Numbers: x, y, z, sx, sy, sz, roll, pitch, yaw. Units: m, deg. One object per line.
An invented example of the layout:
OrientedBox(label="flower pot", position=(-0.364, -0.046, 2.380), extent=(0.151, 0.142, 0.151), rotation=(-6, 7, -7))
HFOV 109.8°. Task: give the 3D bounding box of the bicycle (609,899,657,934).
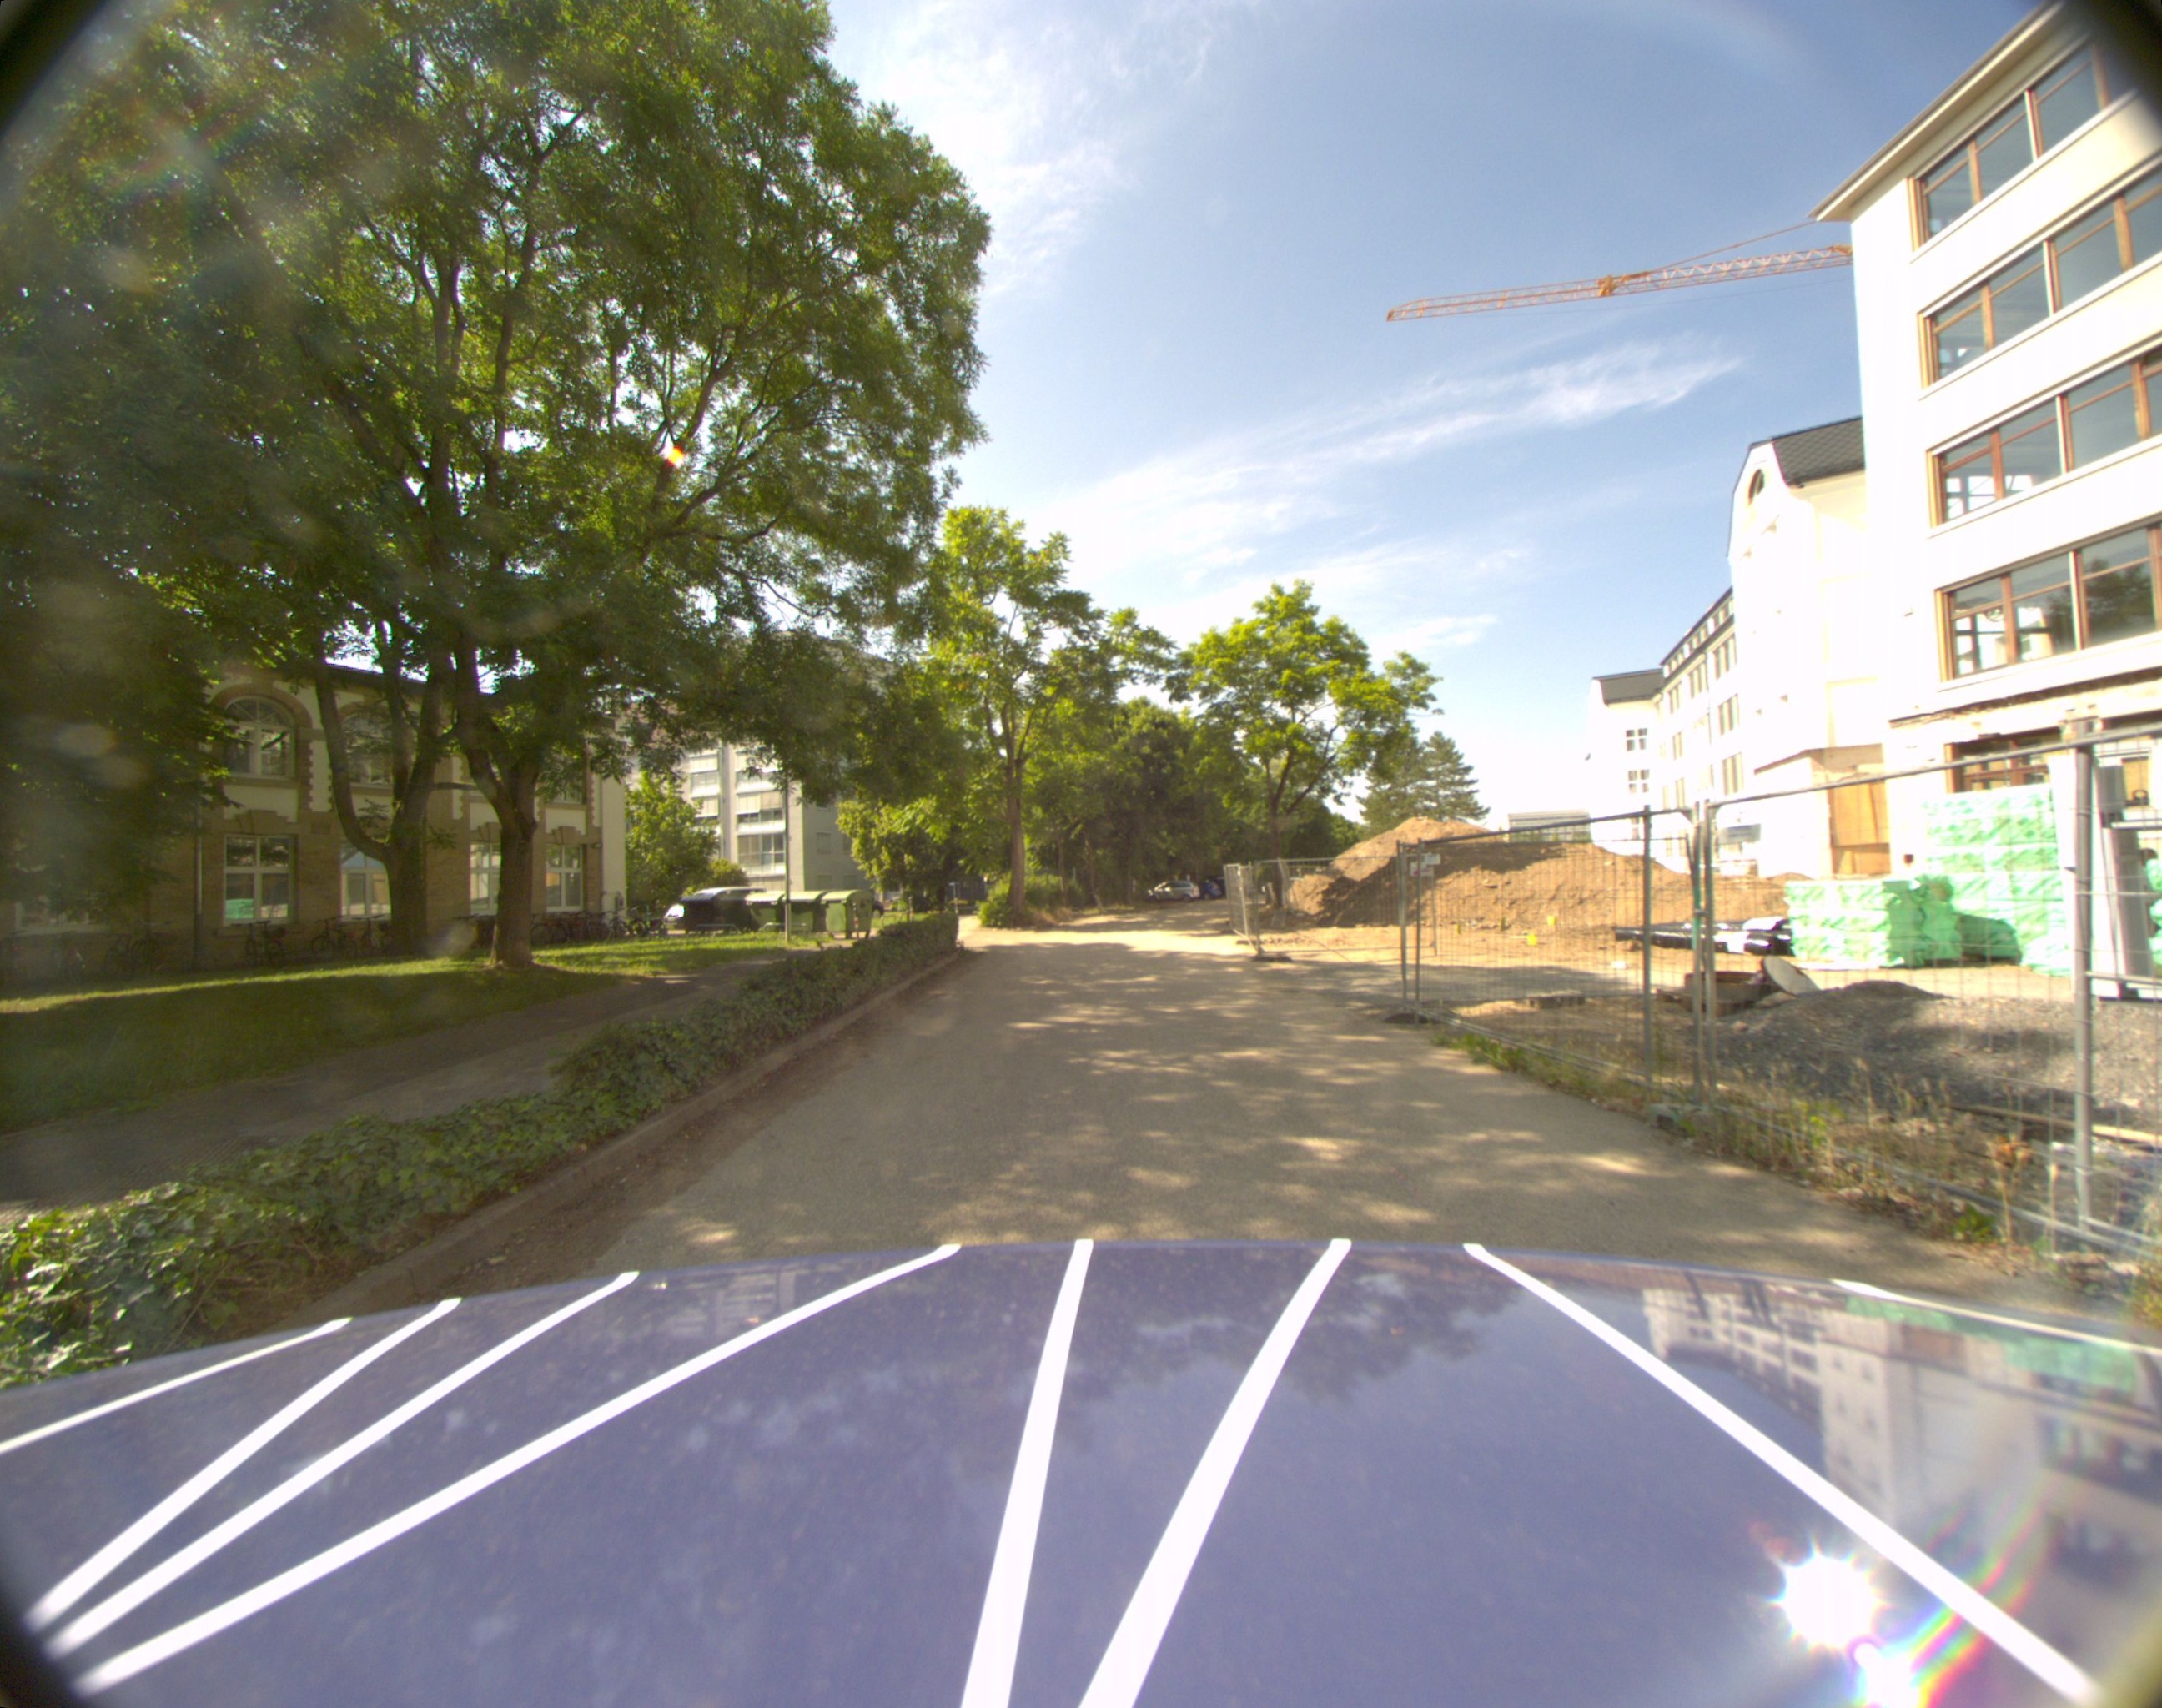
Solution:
OrientedBox(label="bicycle", position=(-15.163, 2.112, 25.709), extent=(1.800, 1.154, 0.508), rotation=(-3, -1, 29))

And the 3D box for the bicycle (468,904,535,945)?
OrientedBox(label="bicycle", position=(-16.939, 2.056, 22.196), extent=(2.097, 1.154, 0.589), rotation=(-3, -1, 24))

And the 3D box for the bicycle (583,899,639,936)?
OrientedBox(label="bicycle", position=(-15.573, 2.104, 25.183), extent=(1.847, 1.154, 0.614), rotation=(-3, -1, 24))

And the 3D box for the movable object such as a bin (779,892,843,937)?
OrientedBox(label="movable object such as a bin", position=(-8.228, 1.835, 23.203), extent=(1.352, 1.292, 1.217), rotation=(-2, -1, 21))

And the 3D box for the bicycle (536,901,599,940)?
OrientedBox(label="bicycle", position=(-16.141, 2.079, 23.861), extent=(2.097, 1.154, 0.589), rotation=(-3, -1, 24))

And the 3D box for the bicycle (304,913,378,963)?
OrientedBox(label="bicycle", position=(-18.469, 2.079, 18.952), extent=(2.097, 1.154, 0.589), rotation=(-3, -1, 24))

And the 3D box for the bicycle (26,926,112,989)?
OrientedBox(label="bicycle", position=(-20.349, 2.060, 15.270), extent=(2.097, 1.154, 0.589), rotation=(-3, -1, 24))

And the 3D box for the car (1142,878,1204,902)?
OrientedBox(label="car", position=(6.550, 2.551, 53.810), extent=(3.991, 1.499, 2.003), rotation=(-2, -2, 19))

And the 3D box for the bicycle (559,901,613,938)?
OrientedBox(label="bicycle", position=(-15.883, 2.102, 24.375), extent=(1.909, 1.154, 0.495), rotation=(-3, -1, 24))

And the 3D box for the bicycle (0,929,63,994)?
OrientedBox(label="bicycle", position=(-20.494, 2.047, 14.650), extent=(2.097, 1.154, 0.589), rotation=(-3, -1, 24))

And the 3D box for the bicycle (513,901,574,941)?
OrientedBox(label="bicycle", position=(-16.387, 2.053, 23.149), extent=(1.917, 1.154, 0.589), rotation=(-3, -1, 24))

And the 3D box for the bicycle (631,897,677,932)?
OrientedBox(label="bicycle", position=(-14.694, 2.076, 26.148), extent=(1.940, 1.154, 0.558), rotation=(-3, -1, 34))

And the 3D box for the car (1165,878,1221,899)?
OrientedBox(label="car", position=(8.670, 2.683, 58.771), extent=(3.991, 1.433, 2.003), rotation=(-2, -2, 19))

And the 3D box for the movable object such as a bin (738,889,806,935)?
OrientedBox(label="movable object such as a bin", position=(-9.640, 1.807, 23.709), extent=(1.499, 1.353, 1.217), rotation=(-2, -1, 21))

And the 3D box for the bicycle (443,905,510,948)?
OrientedBox(label="bicycle", position=(-17.167, 2.046, 21.562), extent=(2.097, 1.154, 0.589), rotation=(-3, -1, 24))

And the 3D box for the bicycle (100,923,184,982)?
OrientedBox(label="bicycle", position=(-19.904, 2.063, 16.093), extent=(2.097, 1.154, 0.589), rotation=(-3, -1, 24))

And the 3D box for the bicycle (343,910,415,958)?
OrientedBox(label="bicycle", position=(-18.180, 2.067, 19.673), extent=(2.097, 1.154, 0.589), rotation=(-3, -1, 24))

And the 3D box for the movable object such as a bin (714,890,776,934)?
OrientedBox(label="movable object such as a bin", position=(-10.878, 1.872, 24.629), extent=(1.349, 1.341, 1.217), rotation=(-2, -1, 21))

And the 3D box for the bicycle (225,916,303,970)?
OrientedBox(label="bicycle", position=(-19.070, 2.059, 17.725), extent=(2.097, 1.154, 0.589), rotation=(-3, -1, 24))

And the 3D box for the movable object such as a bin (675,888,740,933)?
OrientedBox(label="movable object such as a bin", position=(-12.351, 1.869, 25.177), extent=(1.433, 1.401, 1.252), rotation=(-2, -1, 20))

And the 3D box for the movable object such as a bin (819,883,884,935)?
OrientedBox(label="movable object such as a bin", position=(-6.839, 1.636, 22.659), extent=(1.389, 1.454, 1.218), rotation=(-3, -1, 36))
